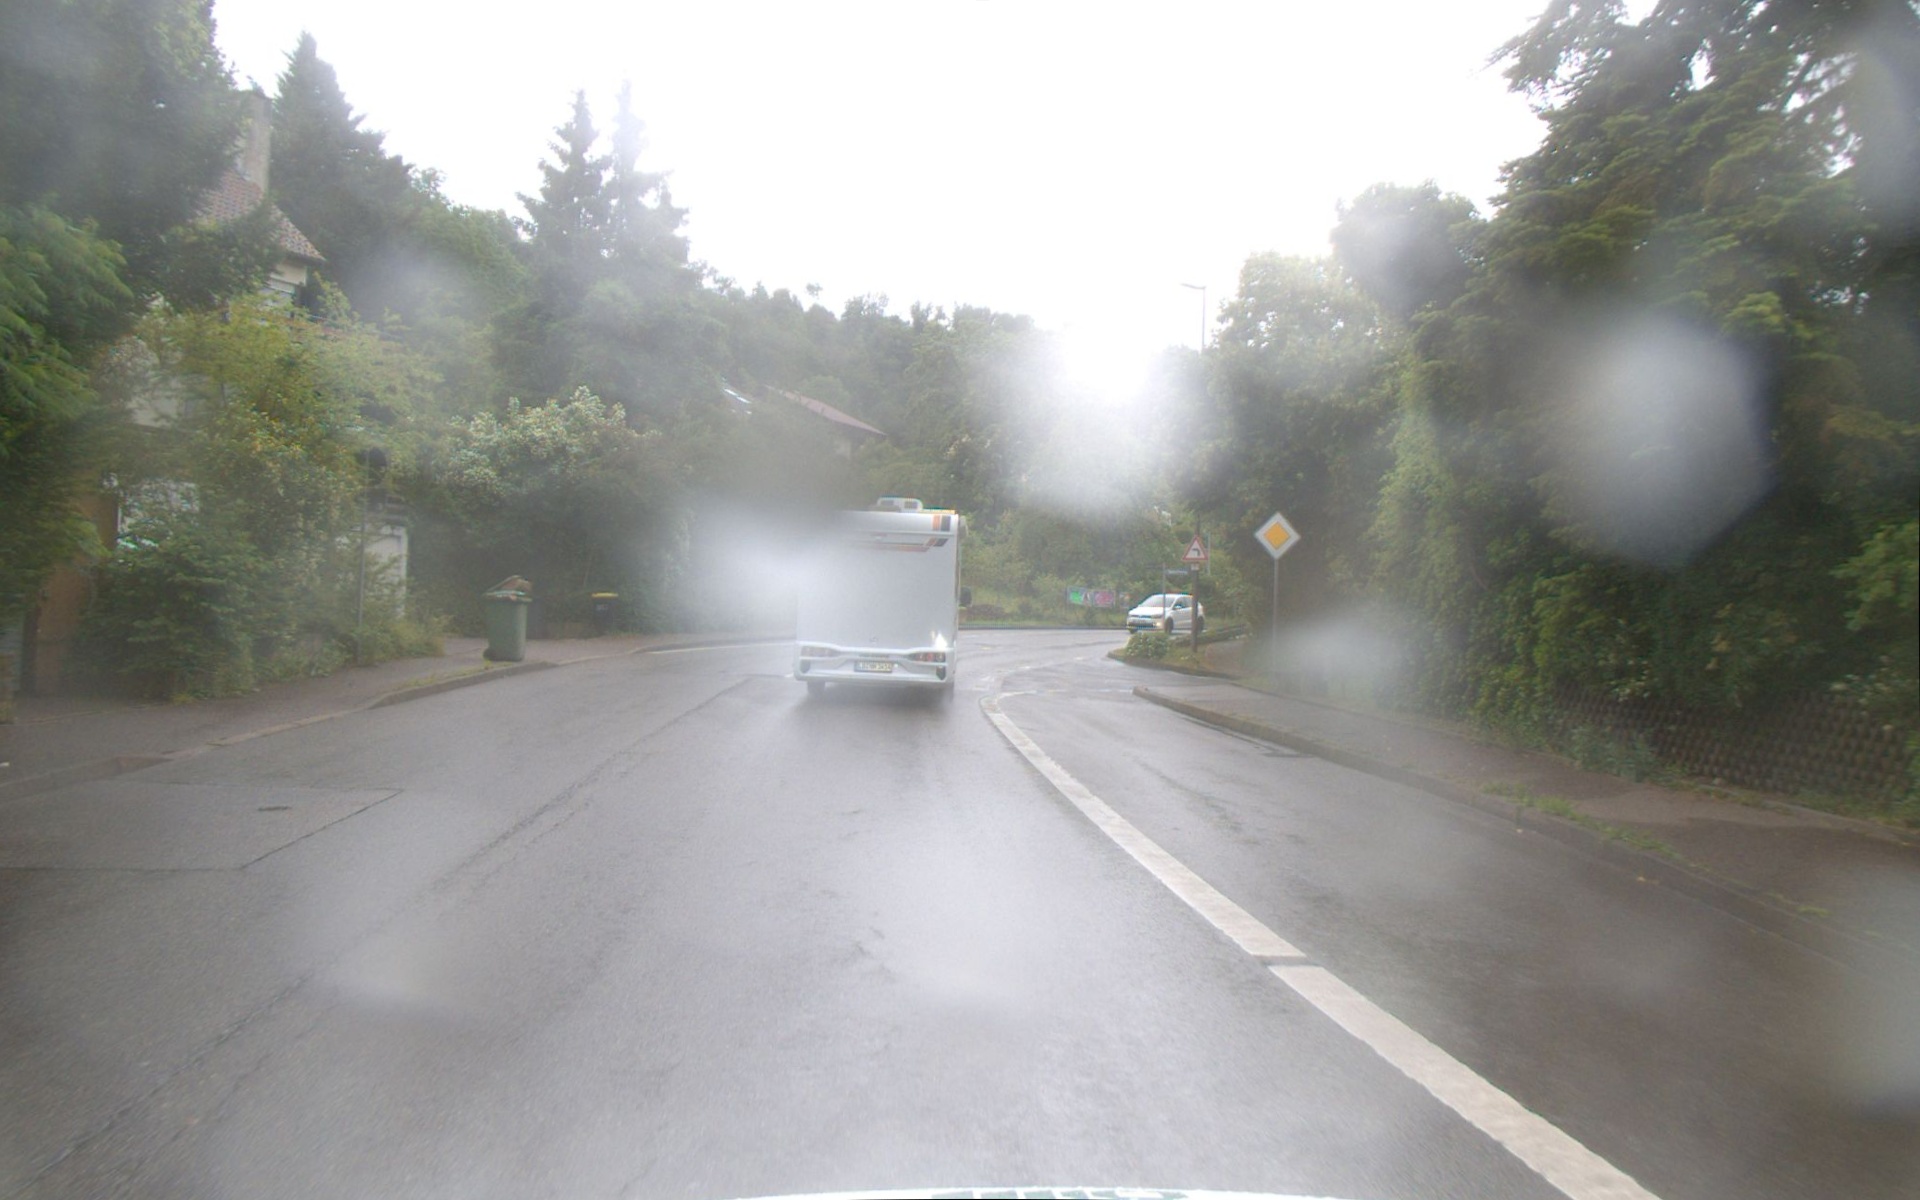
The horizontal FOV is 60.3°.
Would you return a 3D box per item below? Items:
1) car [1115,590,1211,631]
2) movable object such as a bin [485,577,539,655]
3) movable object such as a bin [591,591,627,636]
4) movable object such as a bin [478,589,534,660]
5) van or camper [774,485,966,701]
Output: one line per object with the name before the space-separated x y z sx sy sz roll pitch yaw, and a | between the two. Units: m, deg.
car | 7.676 0.384 62.339 1.860 1.412 3.984 -2 -1 37
movable object such as a bin | -7.465 0.266 27.571 0.727 1.275 0.757 1 0 -5
movable object such as a bin | -8.299 0.311 39.131 0.740 1.040 0.743 1 0 -4
movable object such as a bin | -7.314 0.387 26.686 0.727 1.113 0.757 1 0 -5
van or camper | -1.267 -0.037 25.504 2.562 2.903 6.029 1 -1 -1
